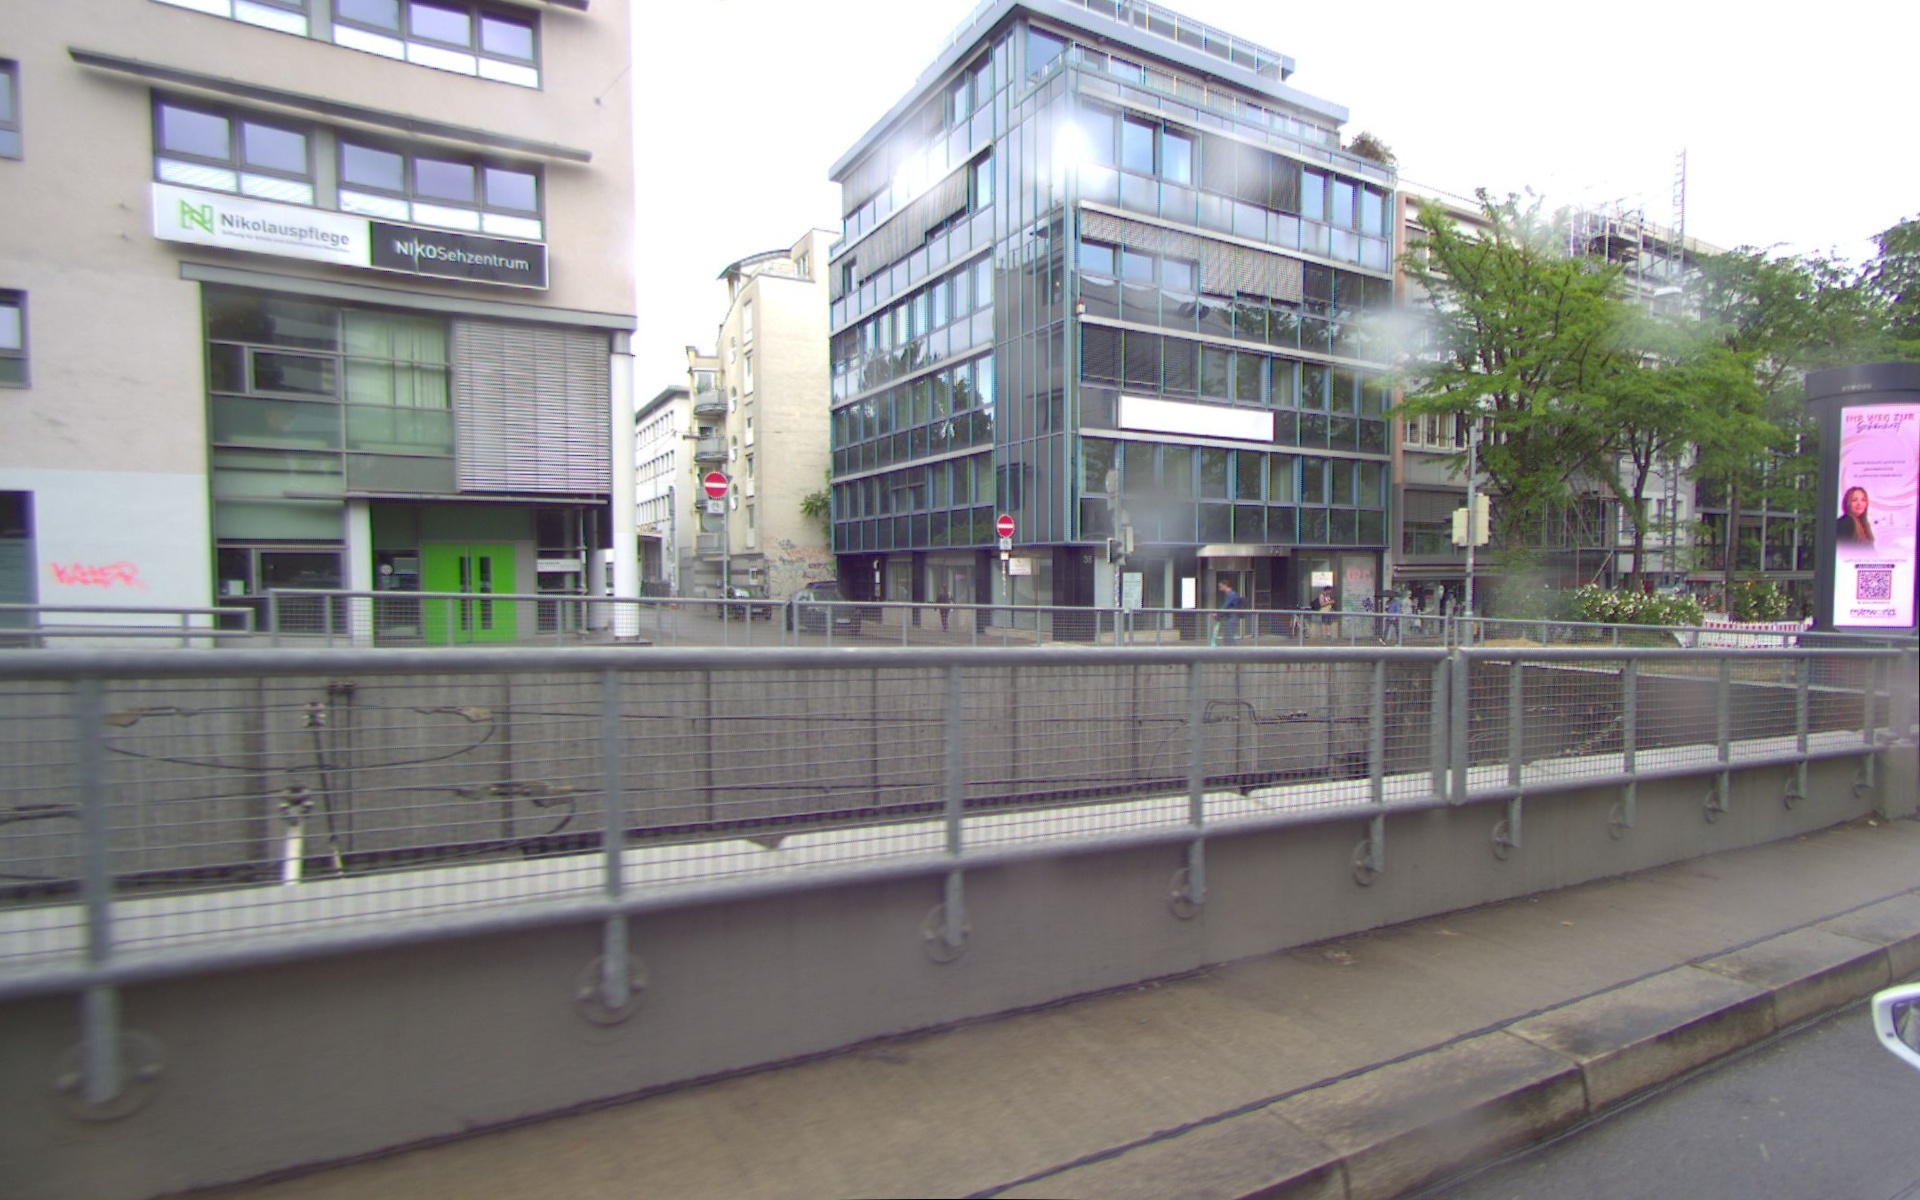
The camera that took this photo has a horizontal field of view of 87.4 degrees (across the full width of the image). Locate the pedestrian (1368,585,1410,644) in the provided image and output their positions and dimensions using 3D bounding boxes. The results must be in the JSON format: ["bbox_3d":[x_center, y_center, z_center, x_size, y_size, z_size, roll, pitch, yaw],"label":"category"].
[{"bbox_3d":[14.125,0.470,33.043,0.857,1.893,0.872,1,2,-31],"label":"pedestrian"}]

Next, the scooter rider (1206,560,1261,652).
[{"bbox_3d":[6.022,0.134,22.129,0.810,1.974,0.807,1,2,-19],"label":"scooter rider"}]

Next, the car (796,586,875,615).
[{"bbox_3d":[-6.720,0.016,54.247,3.846,1.445,1.799,1,0,-27],"label":"car"}]

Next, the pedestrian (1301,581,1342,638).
[{"bbox_3d":[12.244,0.316,34.004,0.943,1.893,0.865,1,2,-11],"label":"pedestrian"}]

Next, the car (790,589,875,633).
[{"bbox_3d":[-4.627,0.366,35.975,1.788,1.445,3.868,1,0,-28],"label":"car"}]

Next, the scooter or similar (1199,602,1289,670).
[{"bbox_3d":[6.304,0.799,22.269,1.925,1.437,0.545,1,1,-19],"label":"scooter or similar"}]

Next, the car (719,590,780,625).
[{"bbox_3d":[-9.454,0.308,44.950,1.672,1.445,3.868,1,0,-28],"label":"car"}]

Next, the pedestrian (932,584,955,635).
[{"bbox_3d":[-0.558,0.303,33.706,0.482,1.694,0.661,1,1,-30],"label":"pedestrian"}]
